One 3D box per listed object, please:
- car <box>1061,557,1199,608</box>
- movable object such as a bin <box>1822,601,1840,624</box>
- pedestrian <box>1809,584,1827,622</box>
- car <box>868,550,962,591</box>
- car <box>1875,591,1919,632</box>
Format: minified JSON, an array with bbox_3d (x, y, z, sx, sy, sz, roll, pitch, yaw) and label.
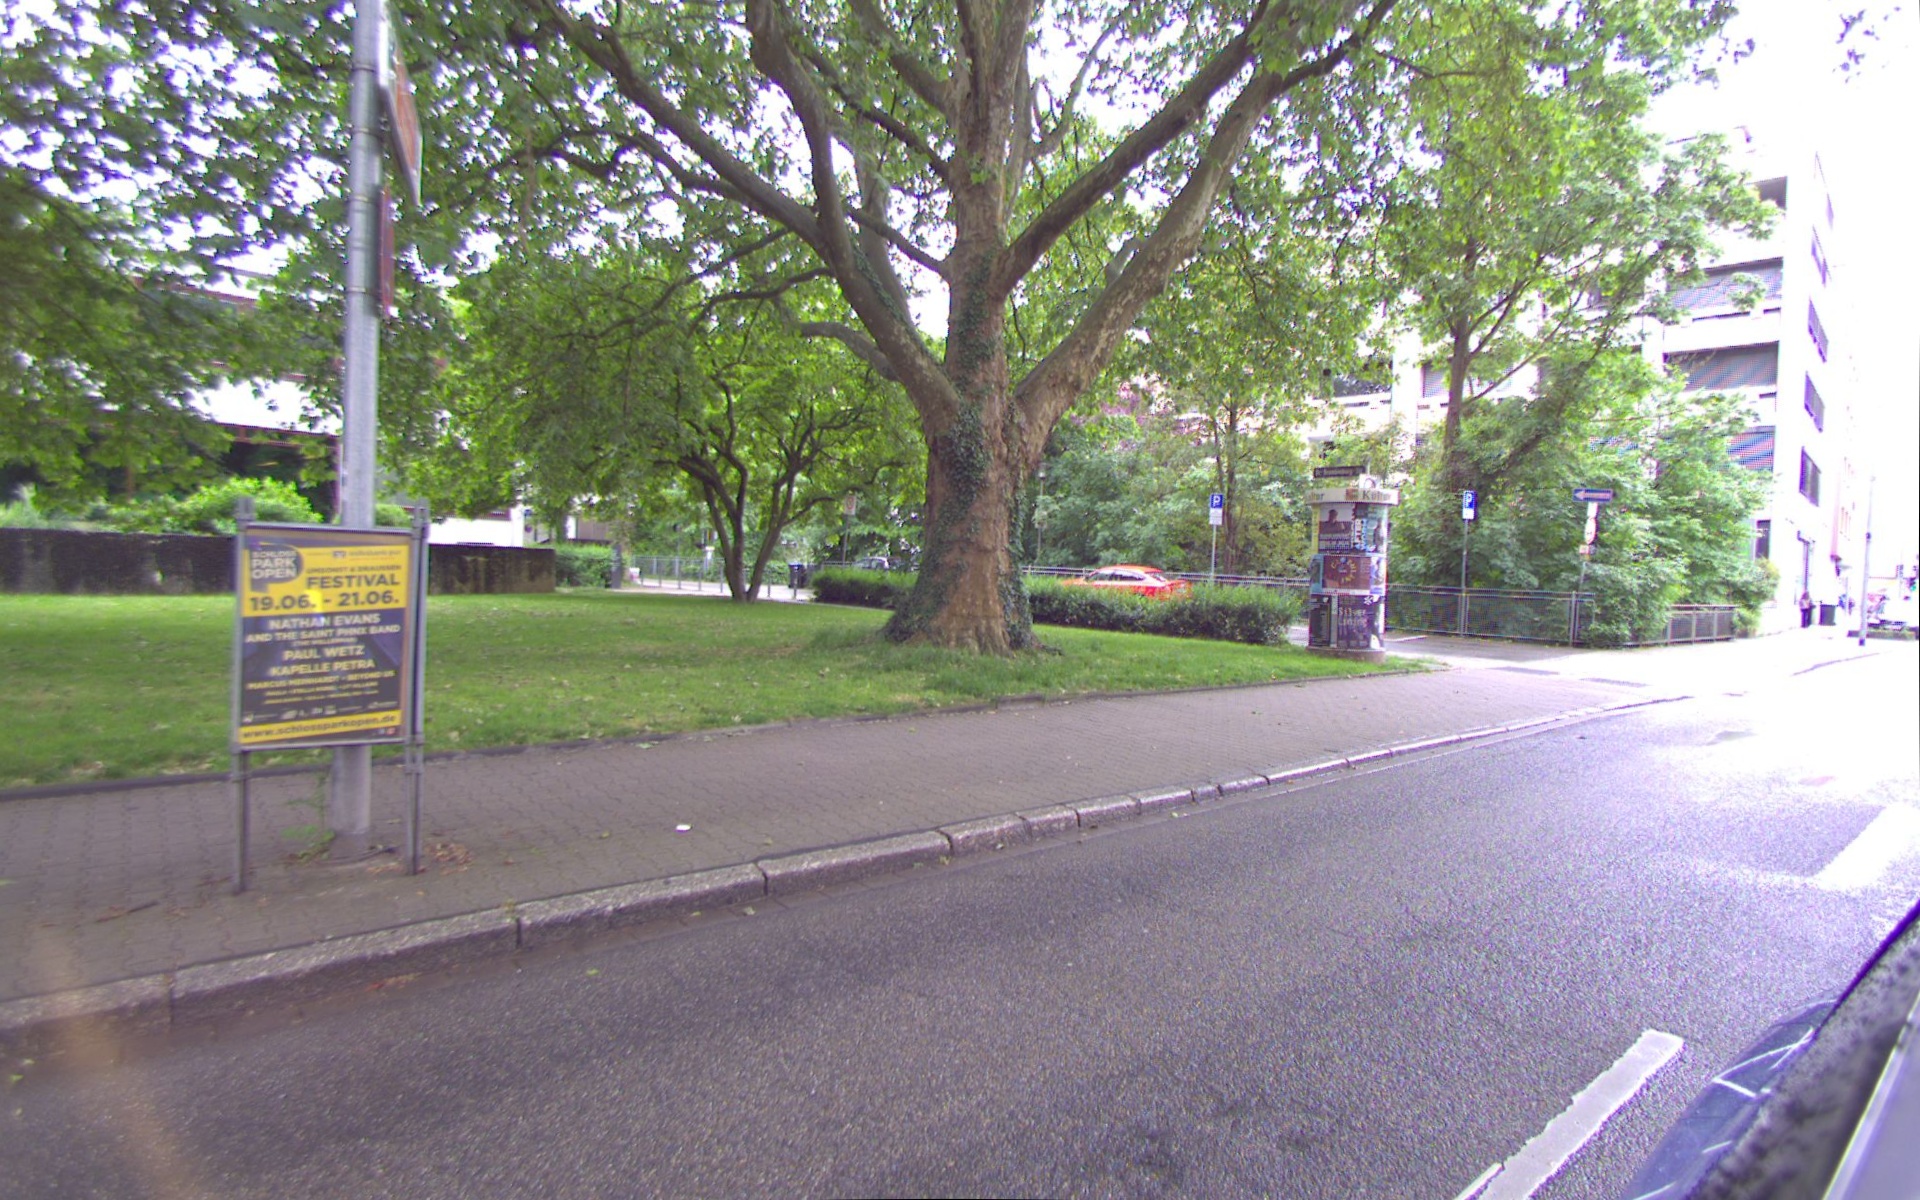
[{"bbox_3d":[4.902,-0.545,29.552,1.551,1.294,3.784,-1,4,-44],"label":"car"},{"bbox_3d":[41.917,0.613,48.716,0.287,1.054,0.556,0,3,-41],"label":"movable object such as a bin"},{"bbox_3d":[35.747,0.121,42.162,0.473,1.549,0.480,0,0,-41],"label":"pedestrian"},{"bbox_3d":[-1.664,-1.089,36.716,3.460,1.294,1.426,5,4,45],"label":"car"},{"bbox_3d":[37.411,0.449,39.743,3.617,1.449,1.681,0,6,-41],"label":"car"}]
